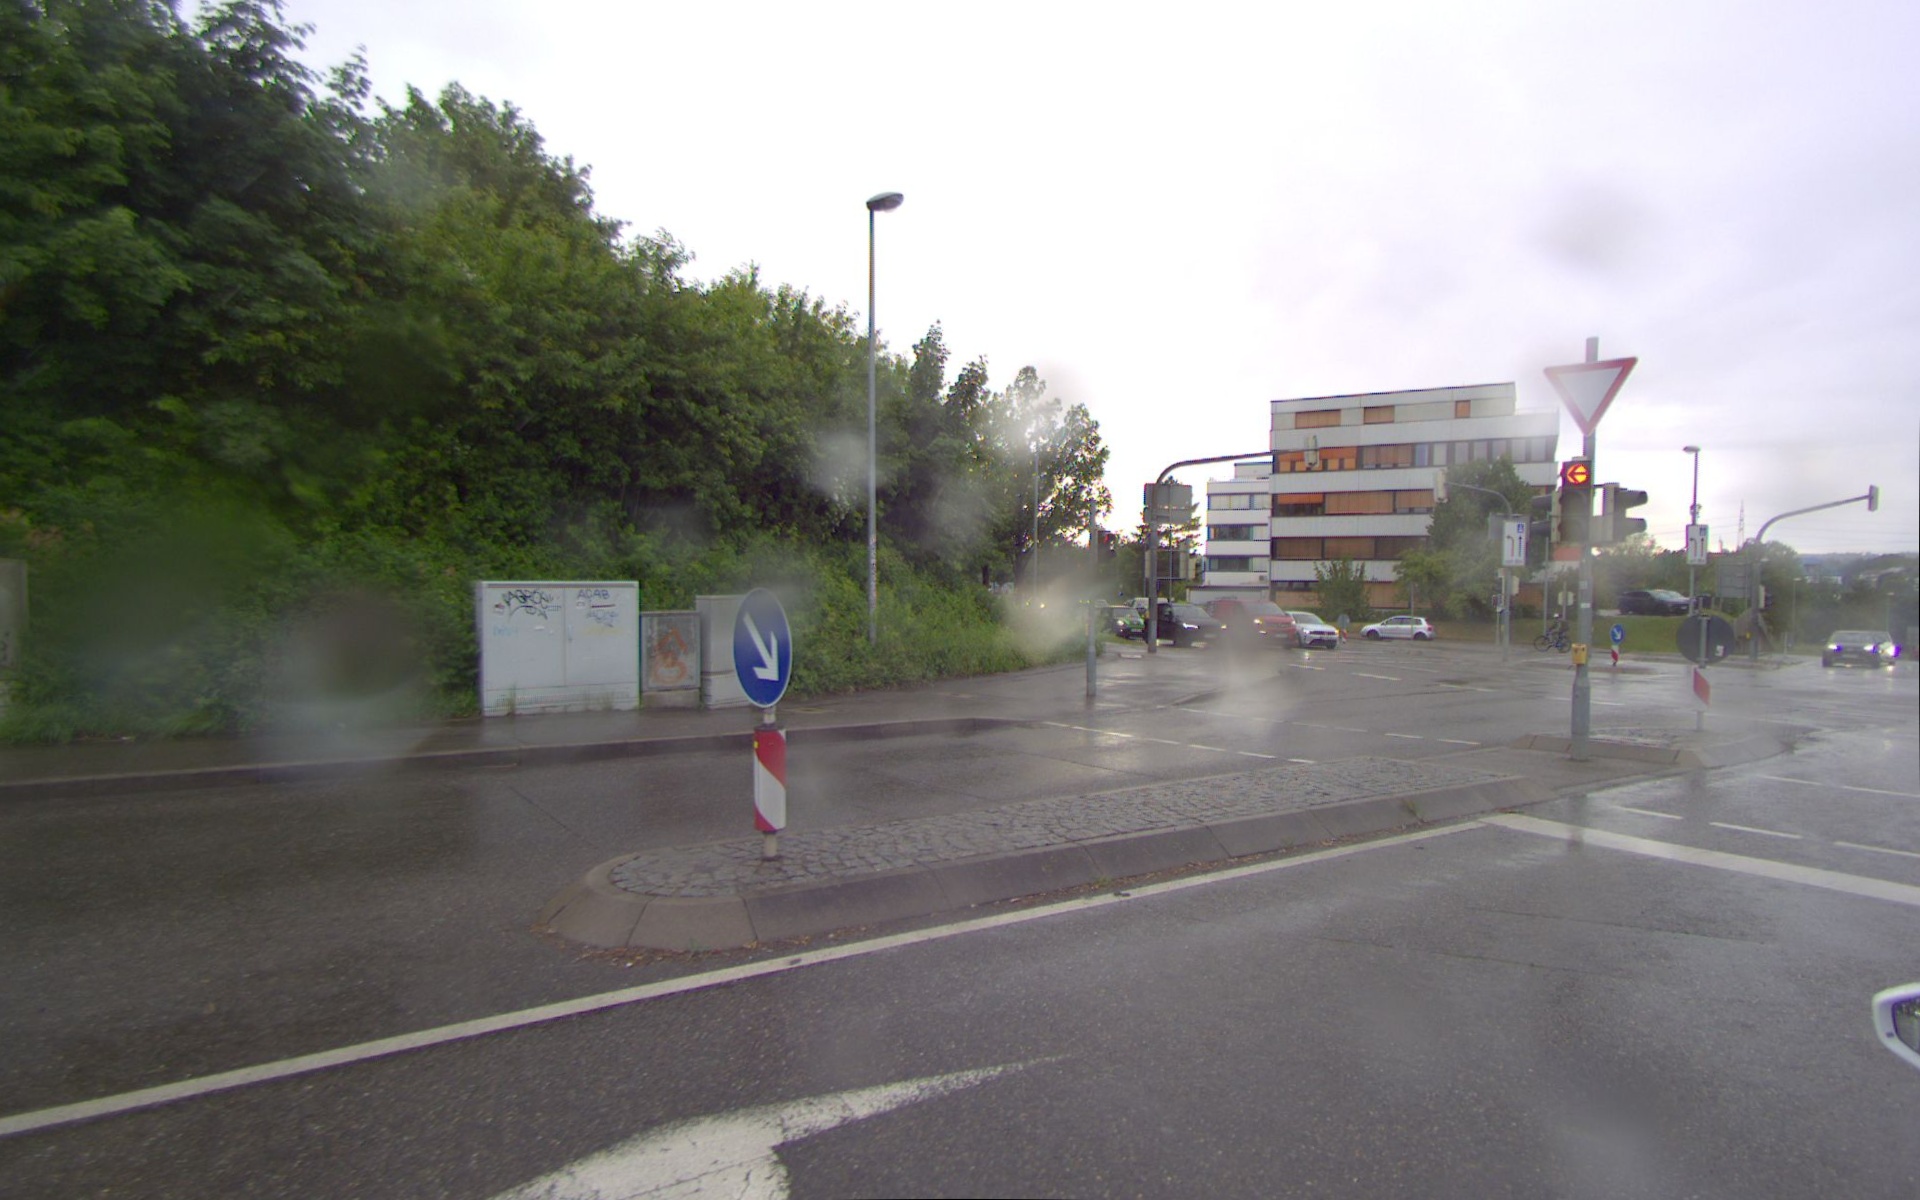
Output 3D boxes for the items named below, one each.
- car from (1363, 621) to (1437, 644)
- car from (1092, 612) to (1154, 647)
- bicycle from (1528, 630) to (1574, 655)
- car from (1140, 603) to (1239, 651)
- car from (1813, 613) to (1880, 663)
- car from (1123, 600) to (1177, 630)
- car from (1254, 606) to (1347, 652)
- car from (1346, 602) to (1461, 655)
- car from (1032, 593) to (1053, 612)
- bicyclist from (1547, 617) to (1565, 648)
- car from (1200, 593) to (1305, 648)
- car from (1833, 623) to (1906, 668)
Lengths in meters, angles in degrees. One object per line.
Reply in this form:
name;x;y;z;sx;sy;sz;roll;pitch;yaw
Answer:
car;24.216;1.778;55.340;3.457;1.120;1.815;1;1;34
car;7.218;1.291;44.734;1.651;1.405;3.454;1;1;-10
bicycle;27.937;1.989;47.524;0.604;1.066;1.762;1;1;-35
car;8.707;1.006;38.562;1.999;1.701;4.622;1;-1;-12
car;37.114;1.559;42.033;1.971;1.920;3.978;2;0;42
car;13.616;1.041;72.254;1.966;2.041;4.999;1;1;-13
car;14.040;1.160;41.684;1.964;1.706;3.993;1;1;-10
car;17.175;1.051;39.109;1.966;1.865;4.143;1;1;-13
car;8.935;0.260;109.367;1.960;2.041;5.013;1;1;2
bicyclist;28.081;1.519;47.318;0.597;1.465;0.540;0;1;-36
car;11.529;0.760;39.949;1.965;2.040;4.776;1;0;-12
car;42.592;2.096;47.025;3.967;1.920;1.977;1;1;-40
